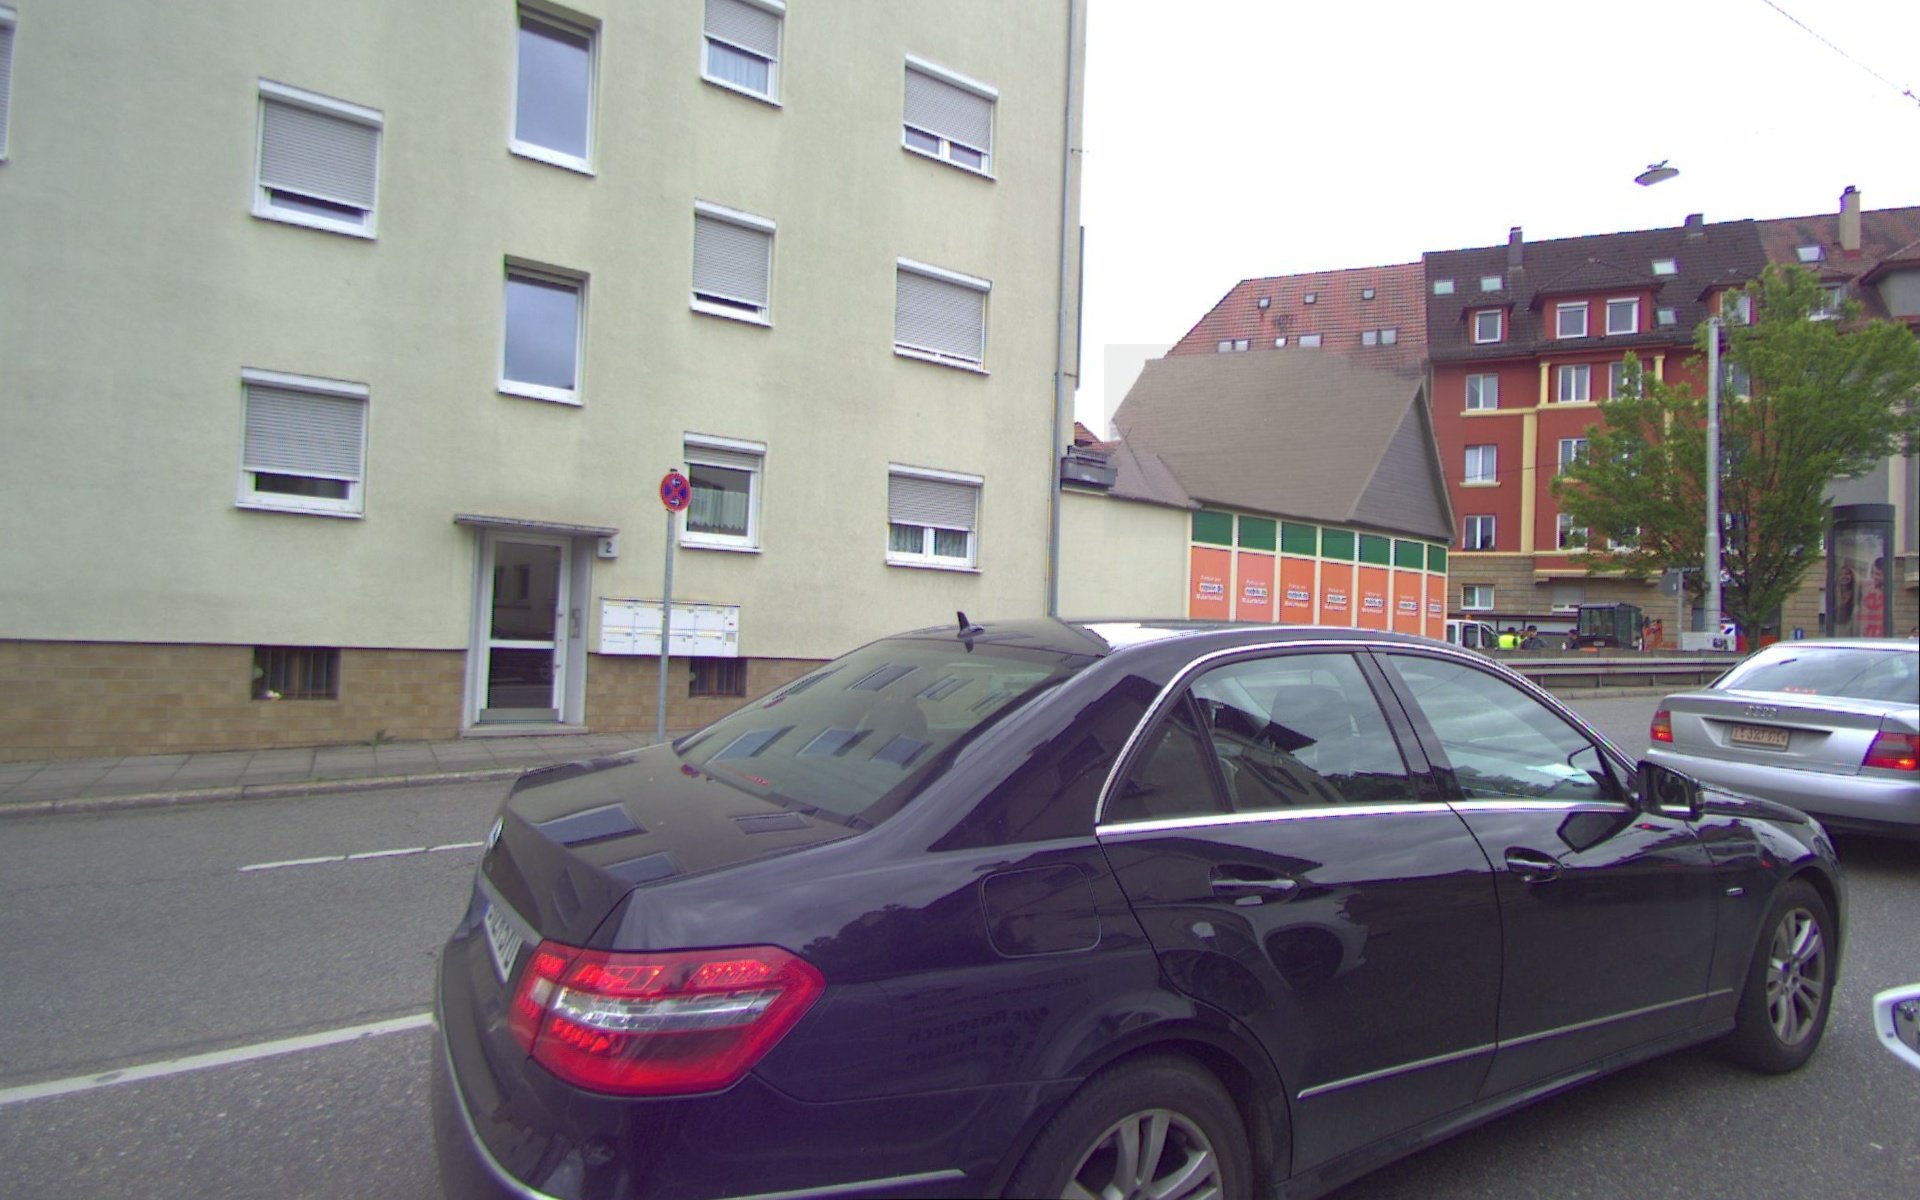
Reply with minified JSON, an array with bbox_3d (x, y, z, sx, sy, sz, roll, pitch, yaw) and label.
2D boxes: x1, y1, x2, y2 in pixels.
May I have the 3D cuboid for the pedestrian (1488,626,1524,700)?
[{"bbox_3d":[15.462,1.764,28.462,0.813,2.040,0.678,0,-1,36],"label":"pedestrian"}]

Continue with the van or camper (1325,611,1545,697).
[{"bbox_3d":[14.533,1.572,31.020,5.894,2.369,2.686,0,-1,26],"label":"van or camper"}]

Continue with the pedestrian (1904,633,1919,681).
[{"bbox_3d":[27.489,1.636,28.655,0.572,1.356,0.576,0,-1,5],"label":"pedestrian"}]

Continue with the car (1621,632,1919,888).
[{"bbox_3d":[6.725,0.930,7.080,4.073,1.383,1.623,1,-2,-26],"label":"car"}]

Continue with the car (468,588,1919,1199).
[{"bbox_3d":[1.074,0.774,3.384,4.785,1.447,1.984,1,-2,-30],"label":"car"}]

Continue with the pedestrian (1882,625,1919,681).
[{"bbox_3d":[26.816,1.479,28.412,0.724,1.567,0.794,0,-1,-3],"label":"pedestrian"}]

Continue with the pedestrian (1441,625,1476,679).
[{"bbox_3d":[12.889,1.328,25.973,0.613,1.381,0.602,0,-1,4],"label":"pedestrian"}]

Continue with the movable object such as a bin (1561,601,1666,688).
[{"bbox_3d":[16.552,1.107,25.383,3.510,2.040,1.363,2,-2,-42],"label":"movable object such as a bin"}]

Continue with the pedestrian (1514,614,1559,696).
[{"bbox_3d":[12.033,1.138,20.959,0.680,1.658,0.775,-1,-2,40],"label":"pedestrian"}]
